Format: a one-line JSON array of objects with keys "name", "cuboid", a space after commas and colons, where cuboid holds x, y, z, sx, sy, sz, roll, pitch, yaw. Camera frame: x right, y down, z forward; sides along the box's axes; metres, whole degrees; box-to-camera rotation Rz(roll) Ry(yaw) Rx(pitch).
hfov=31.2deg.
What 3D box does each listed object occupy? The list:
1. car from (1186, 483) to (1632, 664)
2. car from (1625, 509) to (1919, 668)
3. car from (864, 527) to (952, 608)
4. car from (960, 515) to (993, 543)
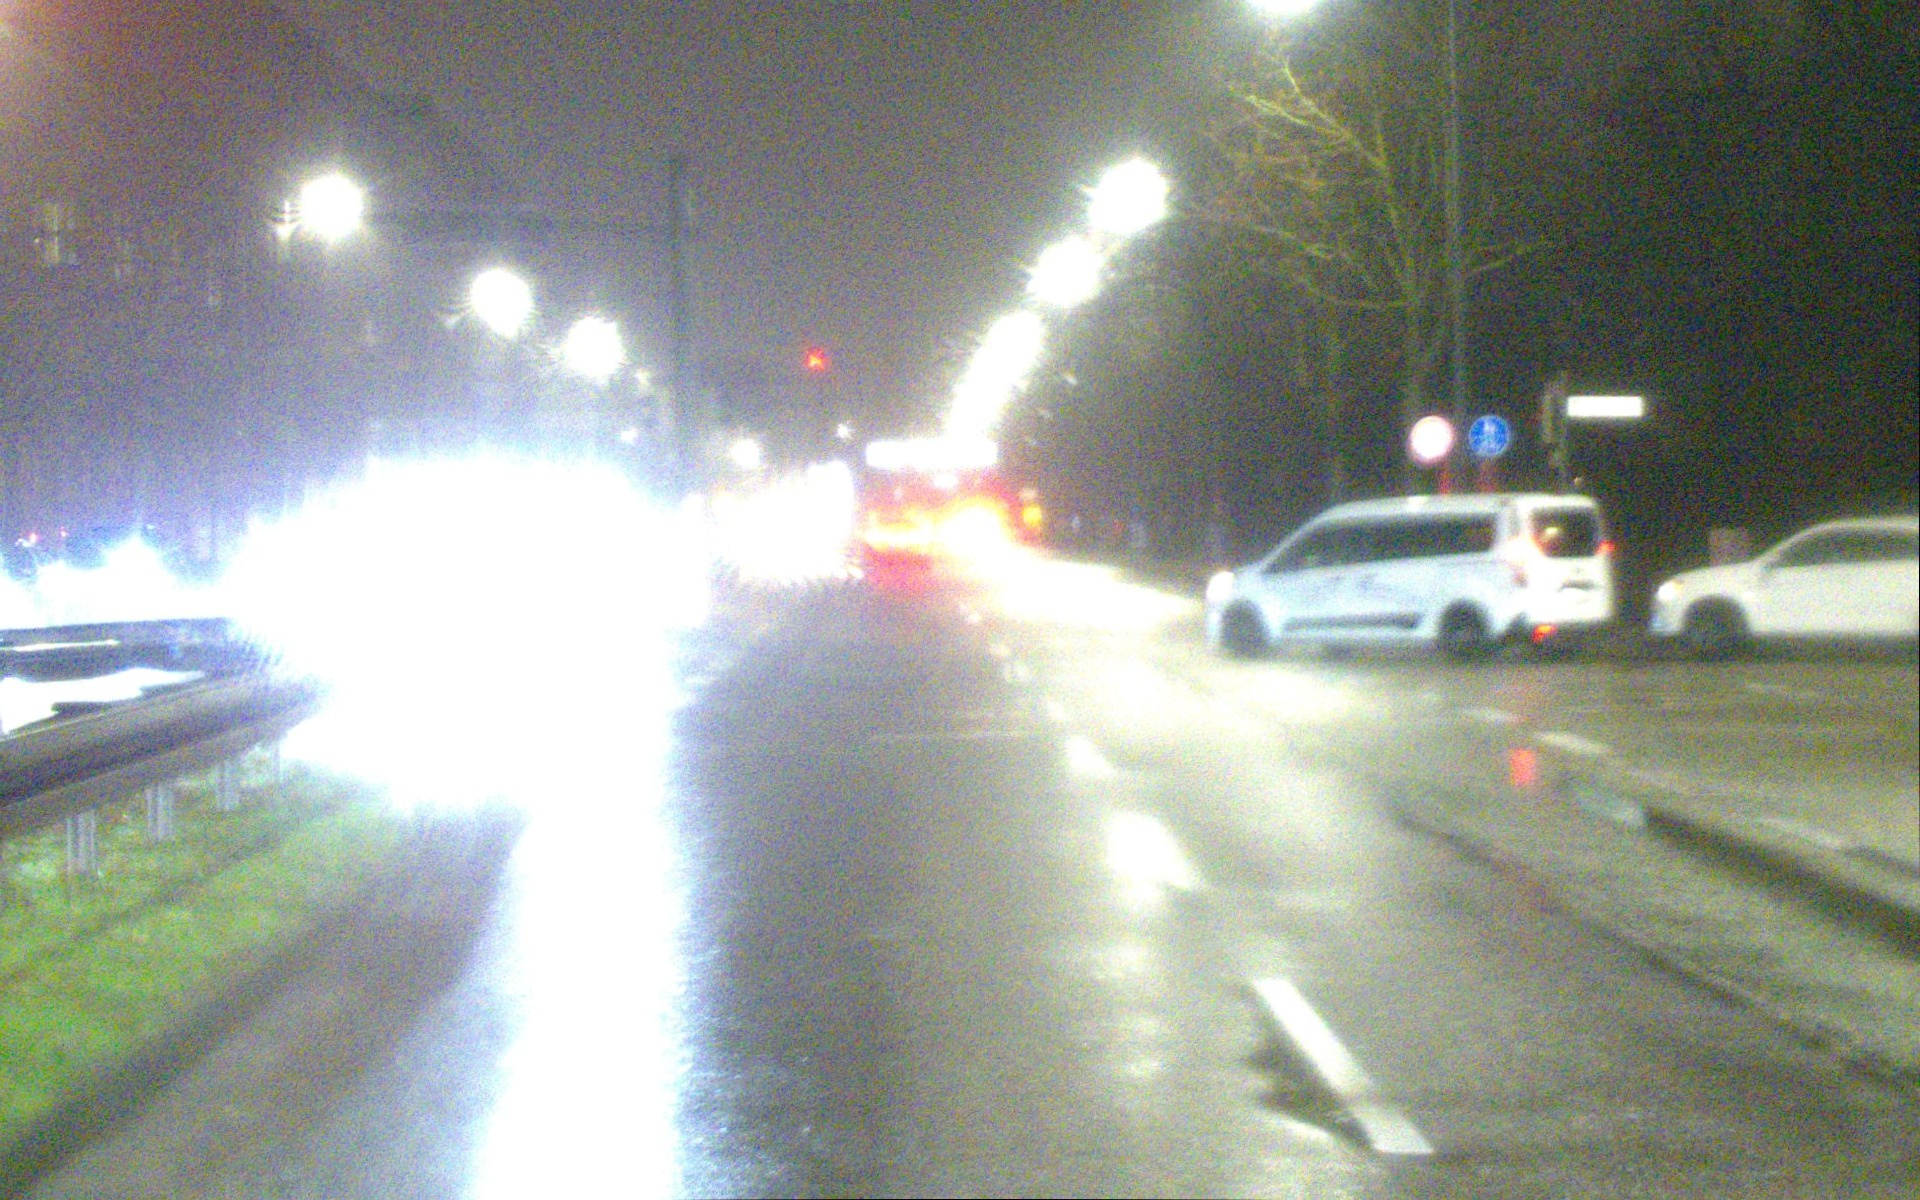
[{"name": "car", "cuboid": [4.858, -0.309, 37.653, 4.623, 1.868, 1.792, 1, 1, 42]}, {"name": "car", "cuboid": [9.747, -0.134, 37.758, 4.422, 1.673, 1.793, 1, 1, 31]}, {"name": "car", "cuboid": [-1.387, -0.892, 94.212, 2.135, 2.137, 4.928, 1, 1, 2]}, {"name": "car", "cuboid": [1.042, -4.544, 220.878, 1.993, 1.753, 4.000, 1, 1, -1]}]
